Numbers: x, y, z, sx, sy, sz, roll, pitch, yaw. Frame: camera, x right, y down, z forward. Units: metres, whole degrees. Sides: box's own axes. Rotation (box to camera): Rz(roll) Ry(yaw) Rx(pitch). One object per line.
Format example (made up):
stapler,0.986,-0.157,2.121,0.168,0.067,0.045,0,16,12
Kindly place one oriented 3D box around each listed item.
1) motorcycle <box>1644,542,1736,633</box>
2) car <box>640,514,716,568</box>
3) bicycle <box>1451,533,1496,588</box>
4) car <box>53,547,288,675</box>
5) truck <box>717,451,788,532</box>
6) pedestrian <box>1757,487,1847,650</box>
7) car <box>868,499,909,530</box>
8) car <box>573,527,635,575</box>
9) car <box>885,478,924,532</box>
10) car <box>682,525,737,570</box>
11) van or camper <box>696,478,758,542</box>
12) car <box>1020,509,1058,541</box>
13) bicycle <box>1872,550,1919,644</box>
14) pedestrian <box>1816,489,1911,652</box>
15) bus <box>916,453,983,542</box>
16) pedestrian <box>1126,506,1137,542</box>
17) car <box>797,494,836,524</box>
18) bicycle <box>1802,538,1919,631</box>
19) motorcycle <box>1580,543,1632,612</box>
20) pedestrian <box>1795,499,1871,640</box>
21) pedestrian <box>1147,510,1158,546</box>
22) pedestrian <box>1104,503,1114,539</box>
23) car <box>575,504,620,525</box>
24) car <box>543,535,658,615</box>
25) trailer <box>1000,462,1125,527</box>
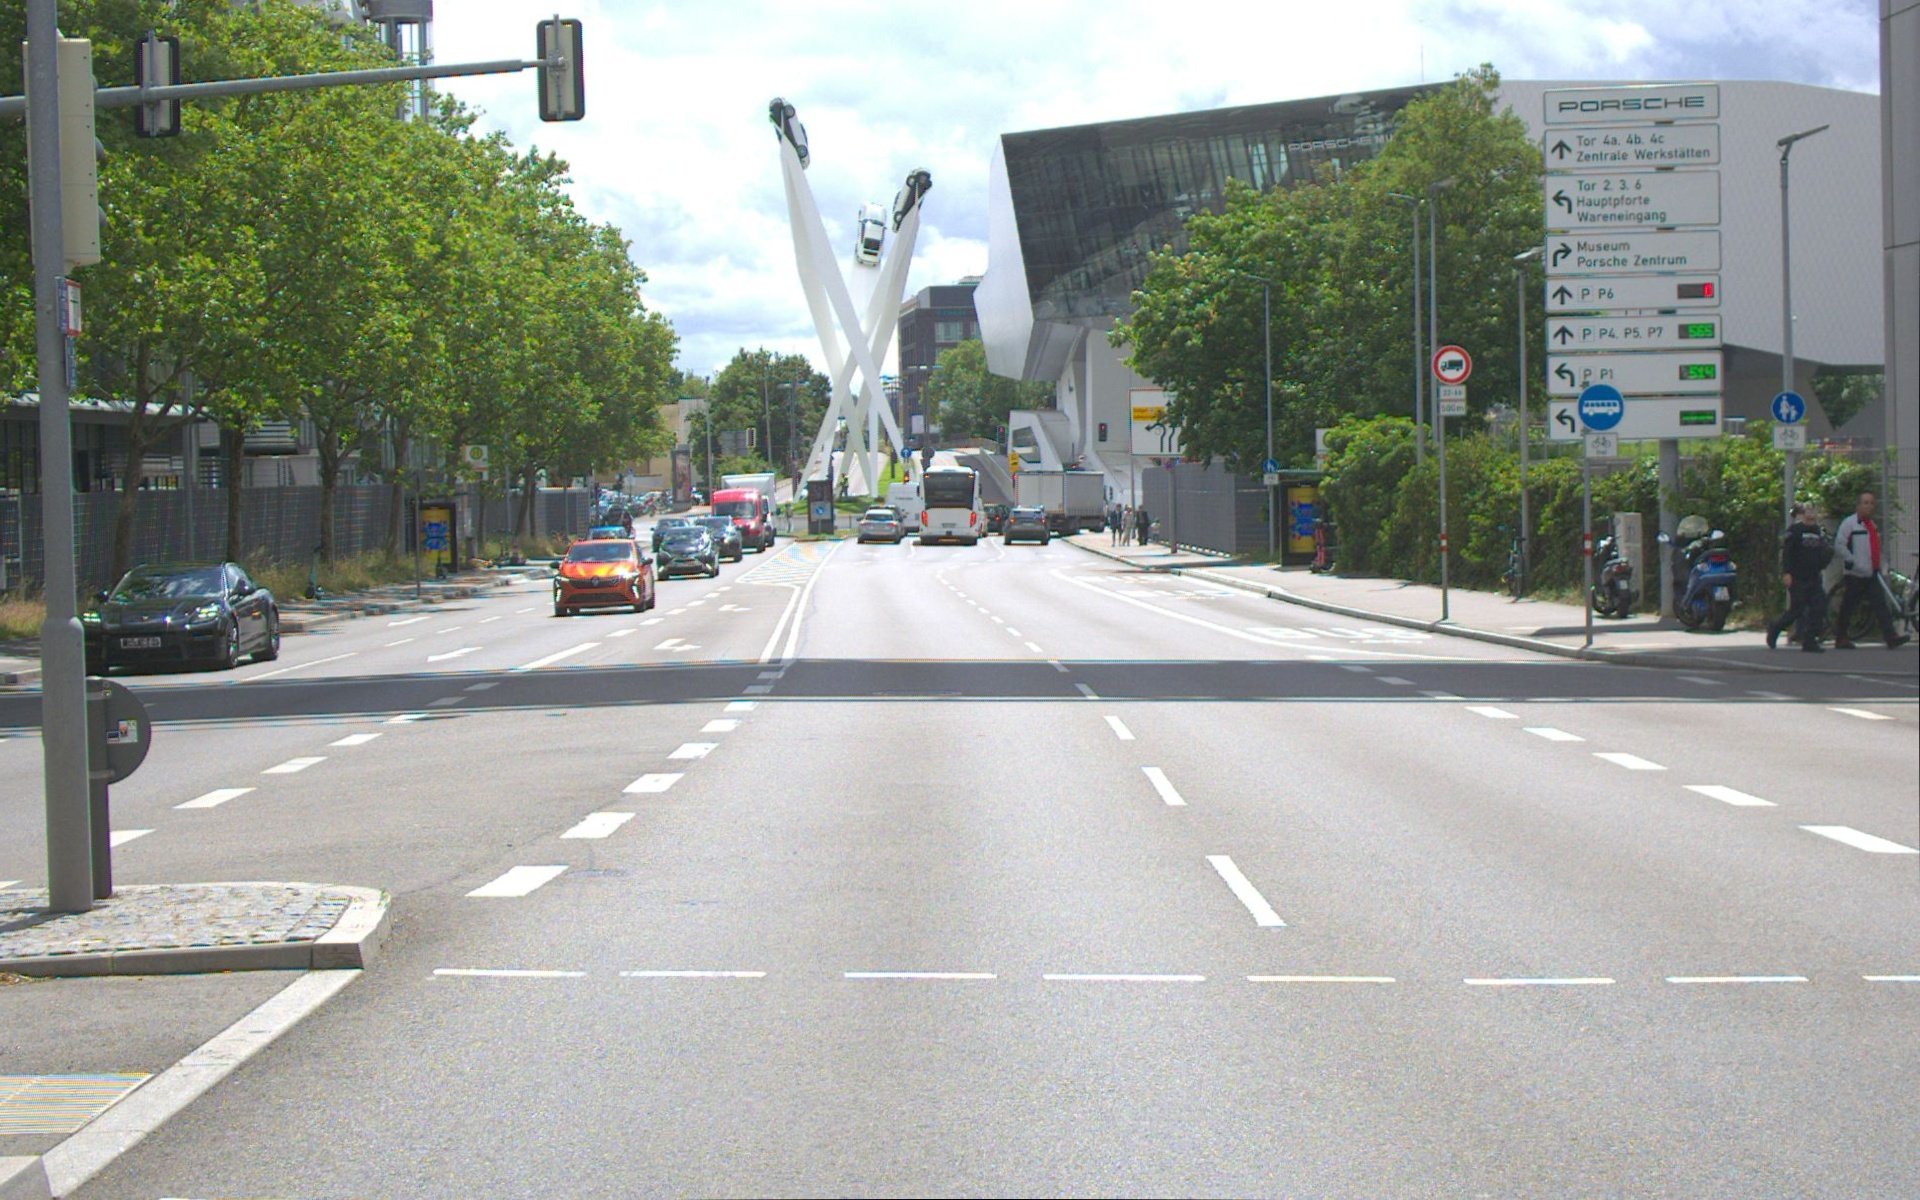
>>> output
motorcycle,9.549,-0.169,45.018,0.418,1.162,1.957,1,1,-11
car,-7.938,-1.677,96.891,1.769,1.415,3.701,-3,1,0
bicycle,9.744,-0.746,65.259,0.418,1.019,1.913,1,1,-5
car,-10.321,0.101,45.310,1.917,1.483,4.772,-3,1,0
truck,-9.028,-4.690,150.026,2.591,3.312,7.079,1,1,0
pedestrian,9.464,-0.361,38.641,0.641,1.787,0.712,-3,1,-16
car,-3.074,-3.705,148.684,1.557,1.269,3.701,-3,1,1
car,-11.893,-1.654,115.075,1.797,1.568,4.001,0,1,-2
car,-2.770,-4.722,171.134,1.843,2.614,4.000,1,1,-1
car,-8.609,-1.814,118.360,1.557,1.443,3.773,-3,1,0
van or camper,-9.066,-3.497,134.160,2.047,2.458,5.595,0,1,0
car,3.344,-3.197,146.397,1.557,1.269,3.701,-3,1,1
bicycle,11.664,-0.022,39.534,2.222,1.083,0.476,1,1,35
pedestrian,10.205,-0.335,38.841,0.691,1.787,0.712,-3,1,-16
bus,-0.448,-4.401,149.392,2.787,3.673,6.943,1,1,0
pedestrian,6.812,-3.021,136.406,0.386,1.416,0.423,1,0,0
car,-6.478,-4.135,155.723,1.557,1.269,3.701,-3,1,0
bicycle,11.173,-0.179,40.864,2.222,1.083,0.476,1,1,35
motorcycle,9.769,-0.348,52.001,0.457,1.019,1.912,1,1,1
pedestrian,10.216,-0.353,40.228,0.533,1.635,0.658,1,0,-29
pedestrian,7.642,-2.854,136.568,0.386,1.416,0.423,1,0,0
pedestrian,5.966,-3.165,137.778,0.386,1.416,0.423,1,0,0
car,-23.405,-5.540,221.997,1.558,1.269,3.698,-2,1,17
car,-6.942,-0.513,66.681,1.769,1.415,3.701,-3,1,0
trailer,5.203,-5.224,172.130,3.322,2.984,10.366,1,1,19
